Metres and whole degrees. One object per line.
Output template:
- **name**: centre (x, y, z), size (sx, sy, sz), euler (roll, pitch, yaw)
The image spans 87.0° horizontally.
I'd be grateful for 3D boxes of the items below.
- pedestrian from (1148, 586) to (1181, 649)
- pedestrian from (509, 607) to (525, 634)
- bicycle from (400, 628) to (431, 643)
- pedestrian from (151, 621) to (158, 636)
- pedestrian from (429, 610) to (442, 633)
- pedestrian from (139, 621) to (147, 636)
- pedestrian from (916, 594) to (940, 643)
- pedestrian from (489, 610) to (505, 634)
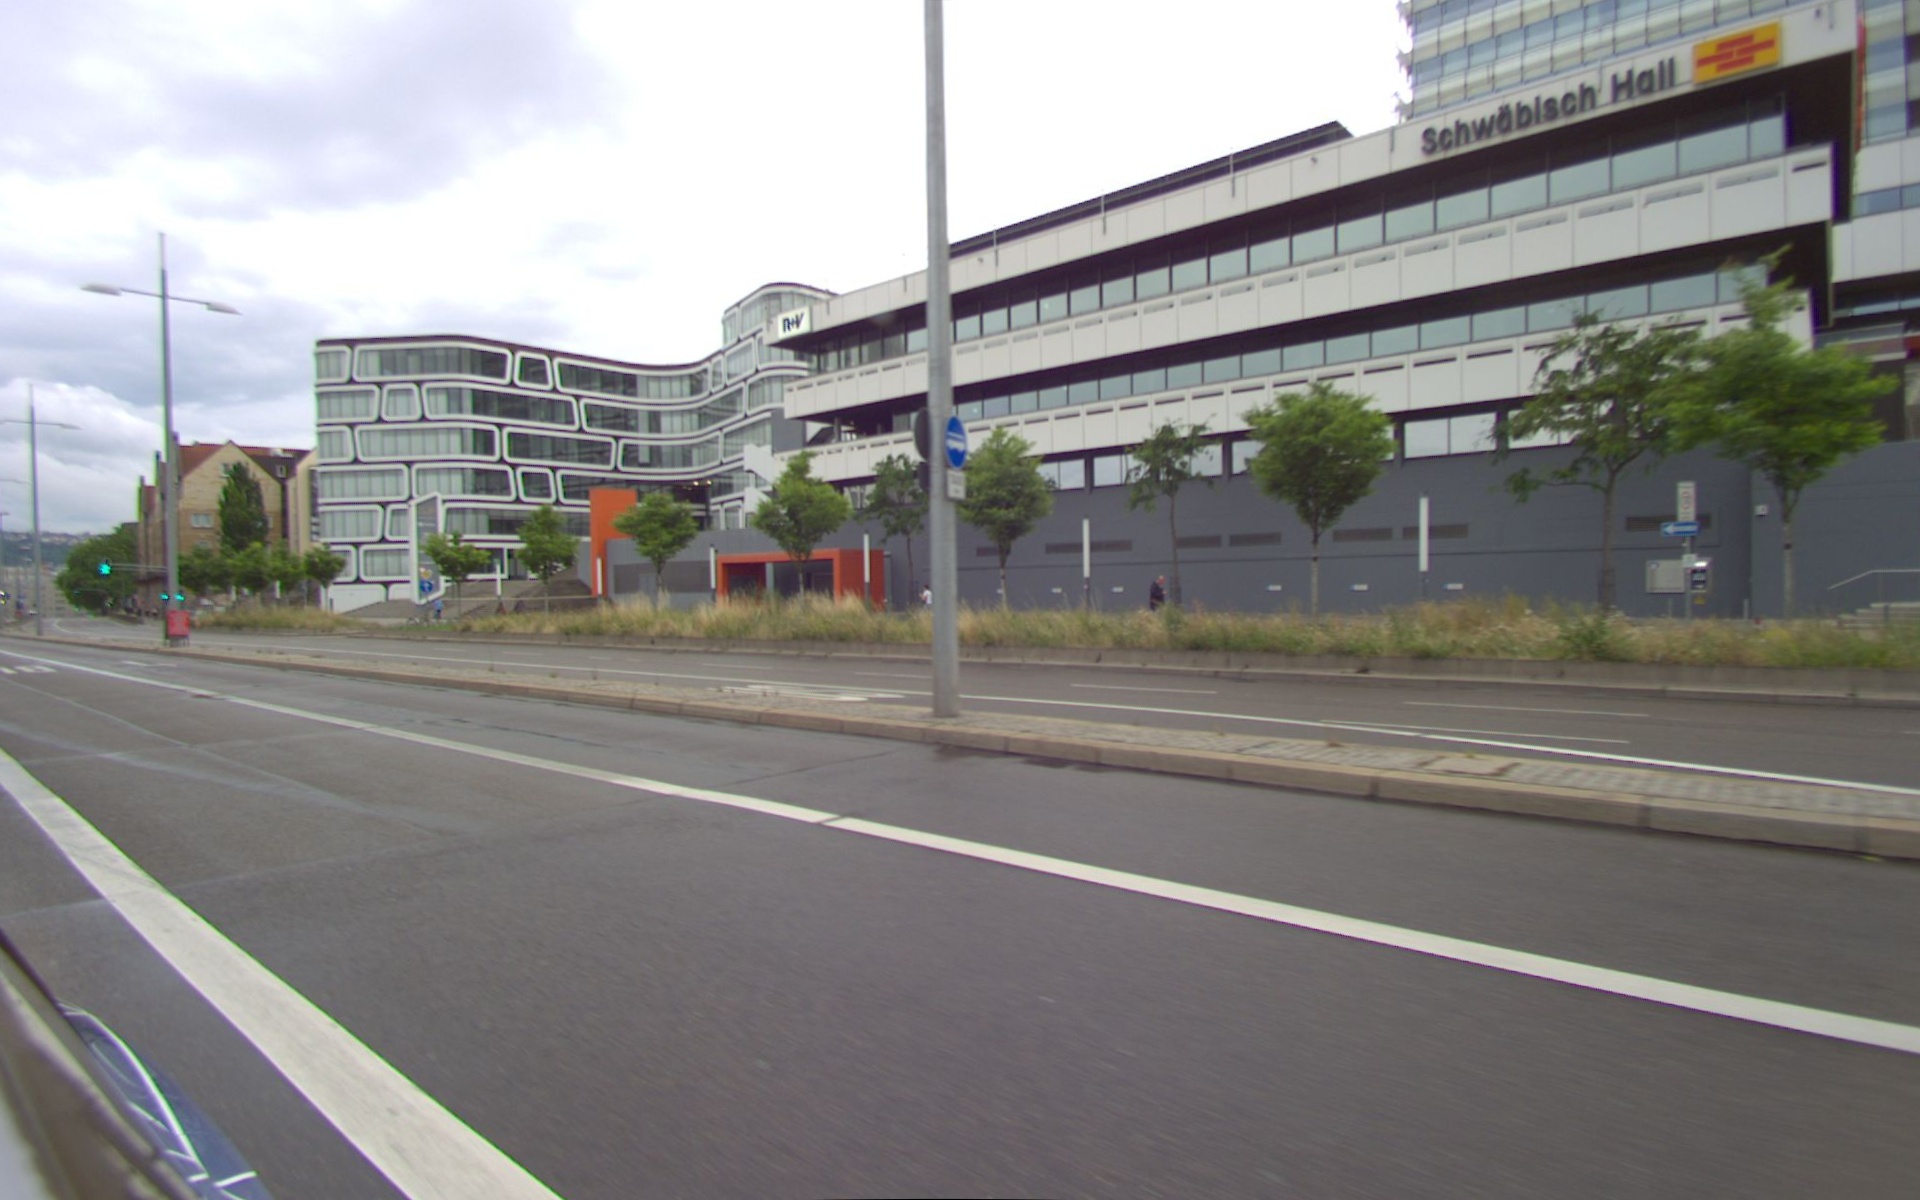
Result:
- **pedestrian**: centre (6.023, 0.499, 29.767), size (0.628, 1.821, 0.776), euler (-1, 0, 42)
- **pedestrian**: centre (-26.936, 1.235, 61.552), size (0.798, 1.670, 0.611), euler (-1, -1, 43)
- **bicycle**: centre (-32.970, 2.163, 61.323), size (1.638, 0.864, 0.608), euler (-1, 0, 9)
- **pedestrian**: centre (-101.613, 3.598, 127.647), size (0.668, 1.792, 0.684), euler (-1, 0, -42)
- **pedestrian**: centre (-38.597, 1.576, 74.484), size (0.603, 1.623, 0.640), euler (-2, 1, -45)
- **pedestrian**: centre (-99.528, 3.434, 123.299), size (0.668, 1.792, 0.684), euler (-1, 0, -42)
- **pedestrian**: centre (-1.189, 0.698, 37.927), size (0.628, 1.821, 0.623), euler (-1, 0, 42)
- **pedestrian**: centre (-27.691, 1.311, 60.527), size (0.798, 1.457, 0.611), euler (-1, 0, 43)
